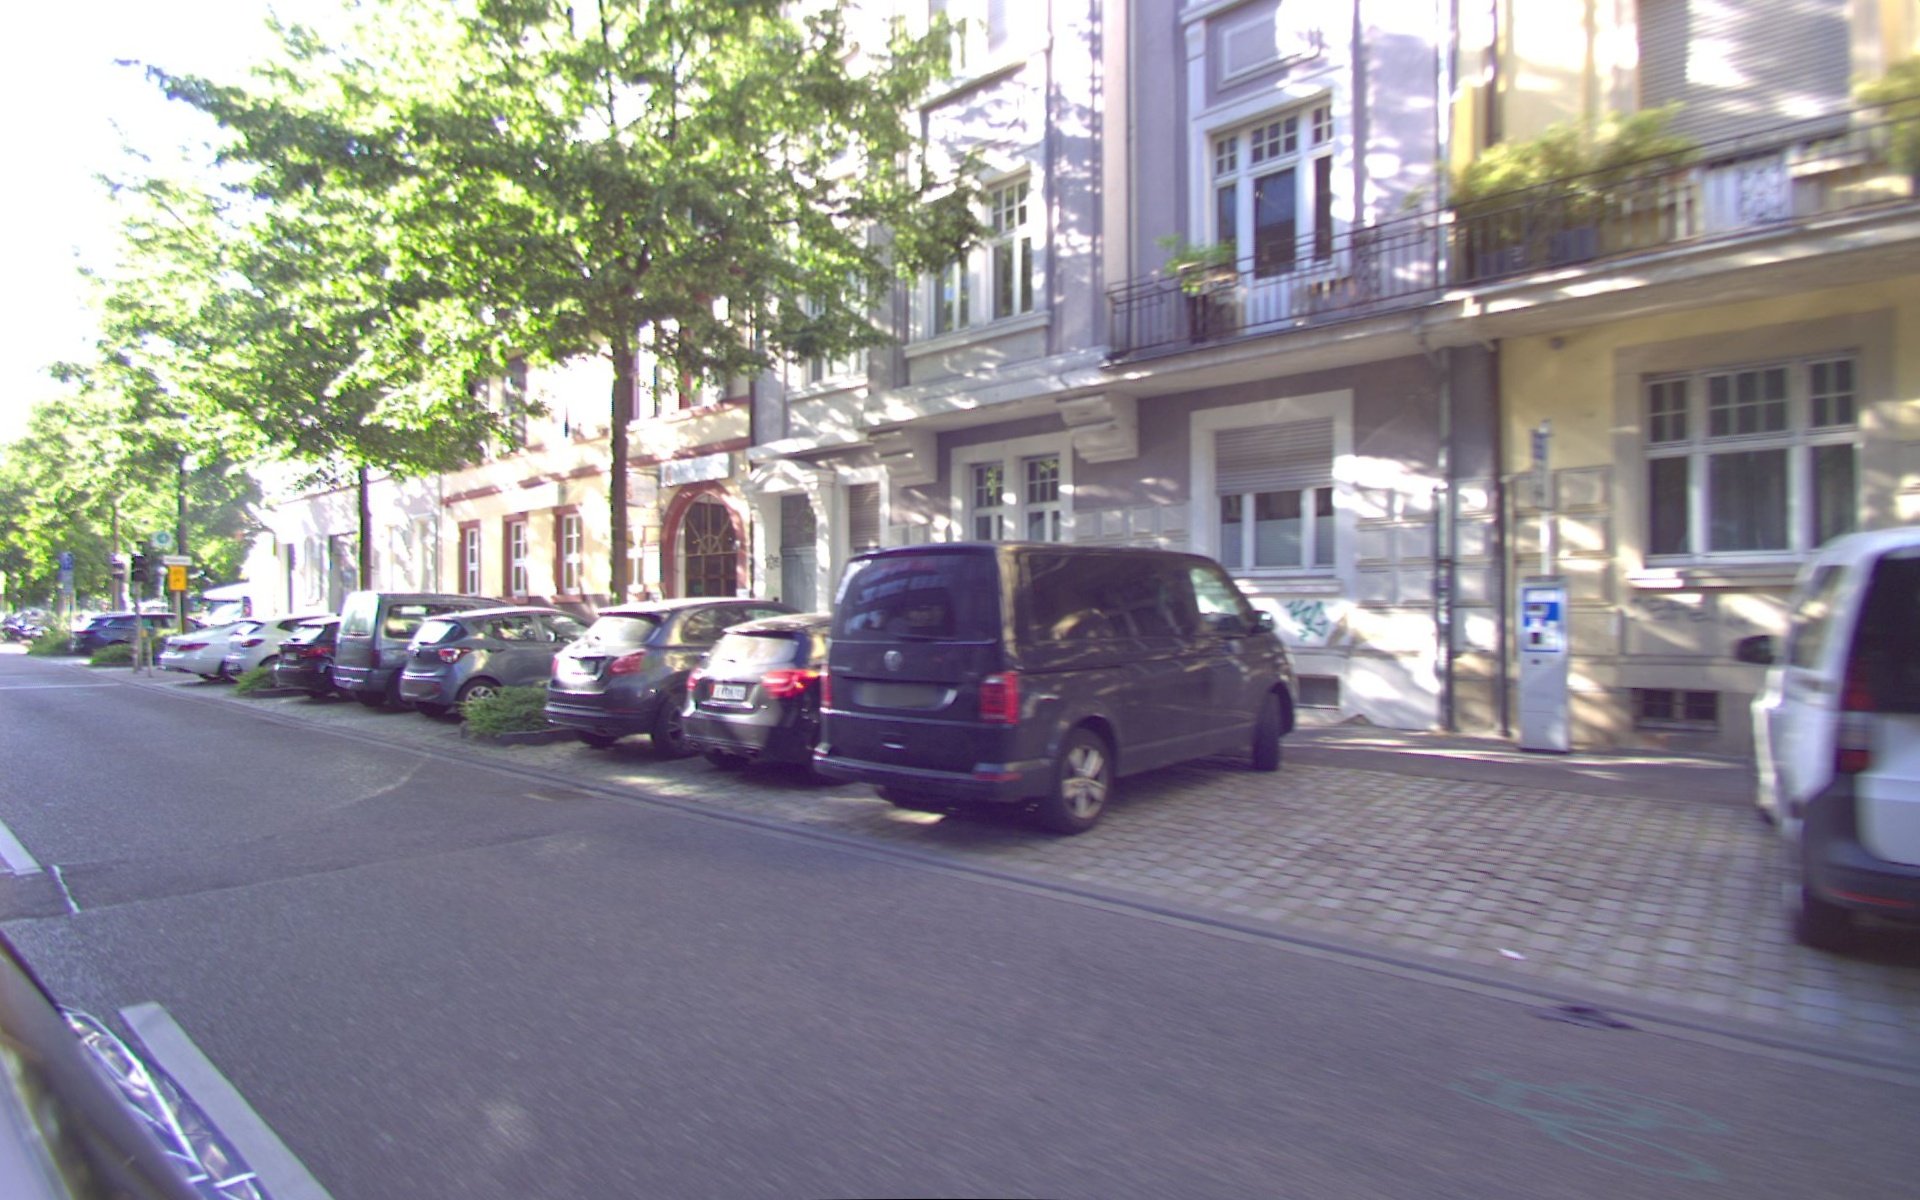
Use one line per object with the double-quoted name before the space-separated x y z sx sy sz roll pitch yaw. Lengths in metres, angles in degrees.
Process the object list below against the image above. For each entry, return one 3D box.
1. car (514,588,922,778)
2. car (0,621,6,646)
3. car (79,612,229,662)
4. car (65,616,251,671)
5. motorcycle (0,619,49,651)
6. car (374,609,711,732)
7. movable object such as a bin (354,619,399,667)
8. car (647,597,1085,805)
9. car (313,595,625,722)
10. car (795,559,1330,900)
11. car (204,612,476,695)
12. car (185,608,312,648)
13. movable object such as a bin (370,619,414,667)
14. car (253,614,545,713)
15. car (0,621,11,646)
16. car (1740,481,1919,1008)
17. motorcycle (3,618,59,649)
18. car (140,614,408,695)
"car" -2.569 0.789 11.619 1.914 1.746 4.296 -1 -1 39
"car" -59.062 2.009 59.420 1.981 1.485 3.981 -1 -1 15
"car" -28.480 1.260 35.833 1.944 1.652 3.943 -1 -1 43
"car" -24.867 1.283 31.483 1.944 1.556 4.292 -1 -1 43
"motorcycle" -43.091 1.582 46.020 2.282 1.434 1.004 0 -1 -22
"car" -6.072 0.926 15.158 1.914 1.556 4.298 -1 -1 38
"movable object such as a bin" -17.627 1.280 30.564 1.261 1.377 0.899 -1 -1 45
"car" -0.711 0.807 10.114 1.914 1.607 4.296 -1 -1 39
"car" -8.028 0.870 16.892 1.927 1.838 4.298 -1 -1 38
"car" 1.080 0.758 8.097 1.930 1.941 4.523 -1 -1 43
"car" -13.324 1.084 22.031 1.996 1.503 4.657 -2 -1 36
"car" -36.797 1.469 52.518 2.055 1.959 5.302 -1 -2 15
"movable object such as a bin" -16.677 1.253 29.706 1.249 1.366 0.820 -1 -1 45
"car" -10.042 1.055 18.468 1.956 1.556 4.310 -1 -1 29
"car" -56.724 1.947 57.313 1.978 1.453 3.988 -1 -1 10
"car" 5.170 0.509 4.912 1.912 1.848 4.303 -1 -1 34
"motorcycle" -43.193 1.546 47.086 1.724 1.434 0.832 0 -1 -22
"car" -15.374 1.133 22.942 1.996 1.503 4.657 0 1 36
